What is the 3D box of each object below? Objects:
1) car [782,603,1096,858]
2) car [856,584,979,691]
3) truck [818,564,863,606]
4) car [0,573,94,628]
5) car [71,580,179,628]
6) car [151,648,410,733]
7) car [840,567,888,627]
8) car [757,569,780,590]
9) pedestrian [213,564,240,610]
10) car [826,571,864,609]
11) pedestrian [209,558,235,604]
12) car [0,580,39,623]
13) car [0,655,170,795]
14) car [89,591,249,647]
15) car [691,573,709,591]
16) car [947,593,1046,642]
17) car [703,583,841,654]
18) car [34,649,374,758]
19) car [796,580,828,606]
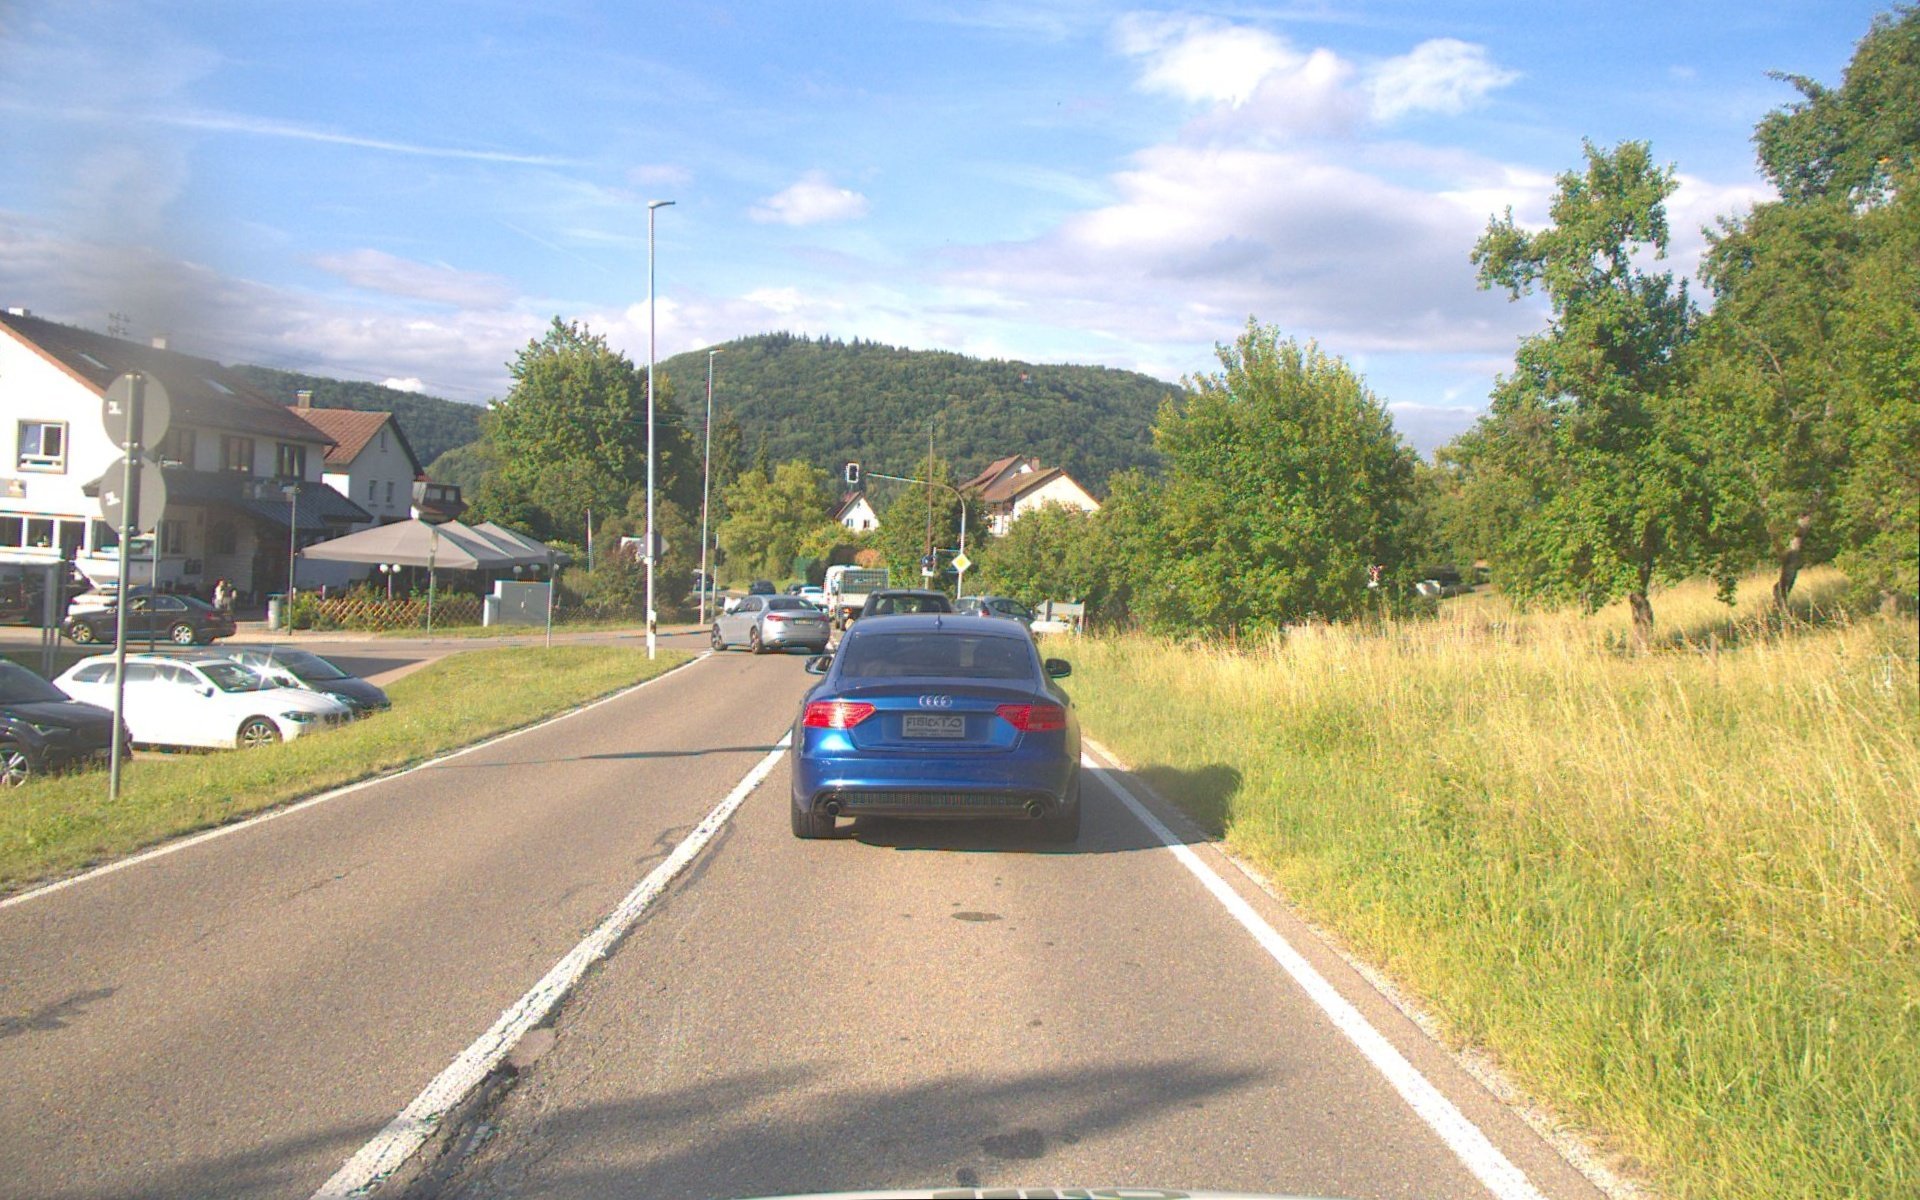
[{"bbox_3d":[0.011,0.748,11.260,1.757,1.412,4.002,0,-1,4],"label":"car"},{"bbox_3d":[-0.648,0.610,28.333,1.709,1.668,4.002,1,-1,4],"label":"car"},{"bbox_3d":[-6.017,-0.708,82.469,1.666,1.988,5.909,1,-1,-9],"label":"truck"},{"bbox_3d":[-29.978,0.019,53.493,1.848,1.691,3.999,1,-1,-1],"label":"car"},{"bbox_3d":[-27.263,0.133,54.142,1.524,1.475,3.999,1,-1,-1],"label":"car"},{"bbox_3d":[-12.100,1.587,29.573,3.902,1.333,1.762,1,-1,7],"label":"car"},{"bbox_3d":[-3.745,-0.090,63.901,1.712,2.234,3.996,1,-1,-5],"label":"car"},{"bbox_3d":[-14.670,-1.554,126.678,1.665,1.516,3.521,1,-1,-7],"label":"car"},{"bbox_3d":[-24.641,-0.441,55.575,0.596,1.529,0.590,1,-1,-1],"label":"pedestrian"},{"bbox_3d":[-5.363,-0.441,77.049,1.712,1.668,3.996,1,-1,-5],"label":"car"},{"bbox_3d":[-25.159,-0.634,56.376,0.596,1.529,0.590,1,-1,-1],"label":"pedestrian"},{"bbox_3d":[-32.306,0.032,54.426,1.804,1.378,3.999,1,-1,-1],"label":"car"},{"bbox_3d":[-13.073,1.610,22.266,3.939,1.666,2.002,1,-1,11],"label":"car"},{"bbox_3d":[-22.509,0.532,47.084,3.904,1.467,1.920,1,-1,20],"label":"car"},{"bbox_3d":[-24.632,-1.737,156.845,1.596,1.604,3.670,1,-1,-10],"label":"car"},{"bbox_3d":[1.186,0.567,52.622,1.594,1.503,3.725,1,-1,29],"label":"car"},{"bbox_3d":[-4.766,0.458,41.470,1.786,1.668,4.417,2,-1,-30],"label":"car"},{"bbox_3d":[-12.087,1.617,26.549,4.711,1.520,1.882,1,-1,11],"label":"car"},{"bbox_3d":[-8.860,-0.395,98.873,1.666,1.516,3.519,1,-1,-10],"label":"car"}]
